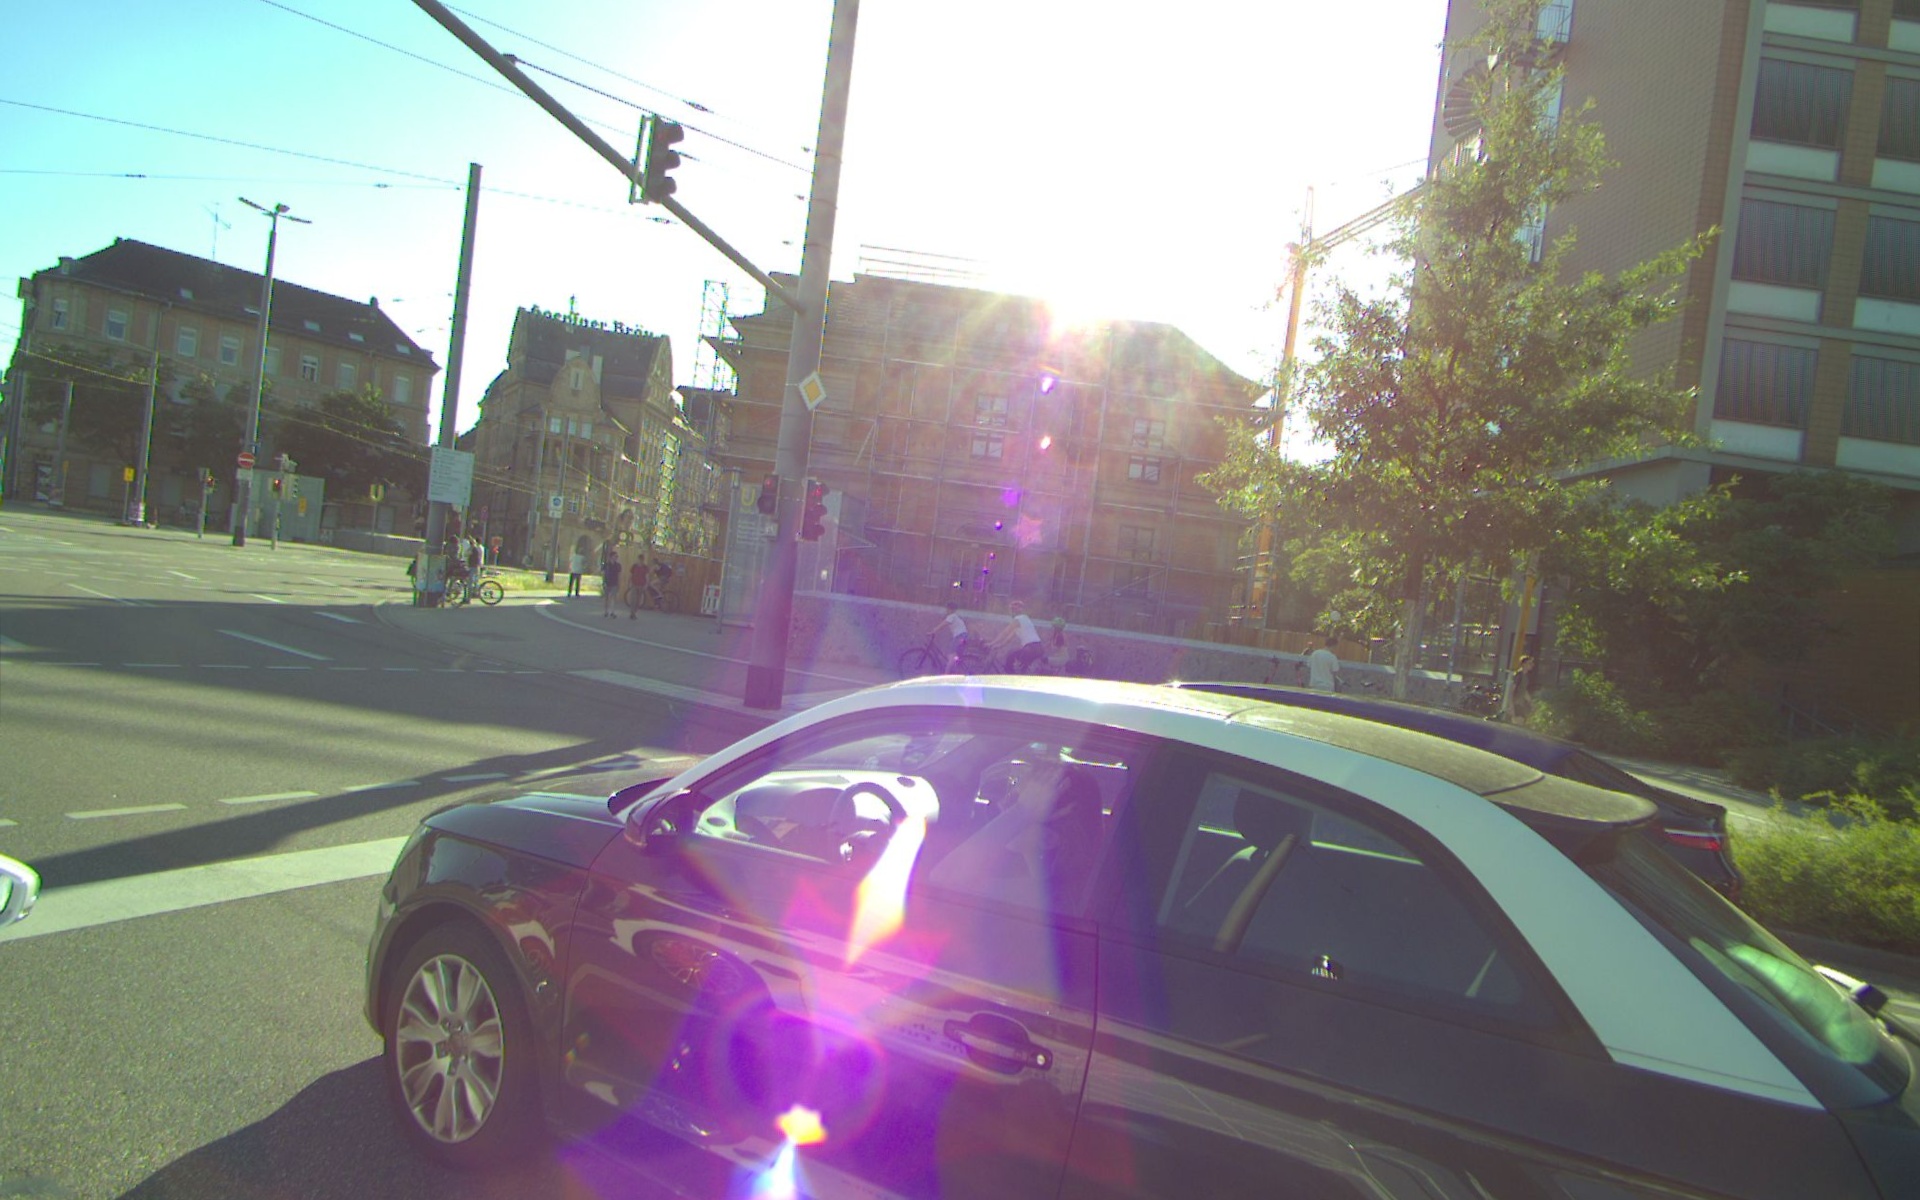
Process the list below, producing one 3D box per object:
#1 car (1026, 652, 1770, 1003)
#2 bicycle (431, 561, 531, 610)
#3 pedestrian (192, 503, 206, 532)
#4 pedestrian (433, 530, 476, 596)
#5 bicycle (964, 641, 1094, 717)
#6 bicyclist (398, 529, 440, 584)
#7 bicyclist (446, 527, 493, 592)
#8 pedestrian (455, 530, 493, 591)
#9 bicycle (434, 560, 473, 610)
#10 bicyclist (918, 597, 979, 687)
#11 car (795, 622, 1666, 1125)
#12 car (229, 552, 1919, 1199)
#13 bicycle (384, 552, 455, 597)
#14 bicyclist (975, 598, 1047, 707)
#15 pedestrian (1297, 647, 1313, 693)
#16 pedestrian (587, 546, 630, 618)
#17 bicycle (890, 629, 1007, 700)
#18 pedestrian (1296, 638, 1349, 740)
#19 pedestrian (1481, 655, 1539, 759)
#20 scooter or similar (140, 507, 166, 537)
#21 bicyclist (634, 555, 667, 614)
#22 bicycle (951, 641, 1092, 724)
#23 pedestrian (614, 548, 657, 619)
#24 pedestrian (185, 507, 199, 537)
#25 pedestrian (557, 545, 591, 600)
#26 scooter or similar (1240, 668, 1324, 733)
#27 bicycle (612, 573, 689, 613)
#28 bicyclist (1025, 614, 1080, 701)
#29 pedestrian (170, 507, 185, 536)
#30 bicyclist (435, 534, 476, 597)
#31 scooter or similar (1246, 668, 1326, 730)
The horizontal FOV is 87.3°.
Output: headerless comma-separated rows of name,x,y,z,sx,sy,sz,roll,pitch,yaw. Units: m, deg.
car,2.922,1.401,7.442,4.435,1.420,1.727,6,-2,30
bicycle,-12.748,-0.375,26.808,2.293,1.062,0.696,6,-1,-28
pedestrian,-55.509,-6.008,73.365,0.600,2.039,0.638,6,1,-43
pedestrian,-16.790,-1.229,33.408,0.748,2.037,0.733,7,-1,25
bicycle,1.105,1.283,16.410,1.997,0.976,0.660,6,2,-1
bicyclist,-16.843,-1.360,31.342,0.930,1.575,0.516,7,-1,24
bicyclist,-12.984,-1.066,26.639,0.936,1.575,0.705,8,-1,-28
pedestrian,-16.475,-1.350,34.117,0.678,1.945,0.649,7,-1,25
bicycle,-12.583,-0.392,24.966,0.693,1.062,2.303,7,0,-29
bicyclist,-0.198,0.737,17.672,0.663,1.471,0.616,6,-1,37
car,1.225,1.094,5.375,3.934,1.420,1.627,6,-2,32
car,-0.054,0.820,2.714,3.934,1.420,1.627,6,-2,32
bicycle,-16.841,-0.797,31.312,2.278,1.061,0.536,8,-1,24
bicyclist,0.795,0.801,15.593,0.780,1.573,0.667,7,2,22
pedestrian,13.434,2.735,39.198,0.369,1.752,0.444,7,-1,17
pedestrian,-9.401,-0.468,26.927,0.672,1.830,0.672,7,2,11
bicycle,-0.223,1.109,17.663,2.004,0.976,0.657,6,2,36
pedestrian,6.210,1.504,17.242,0.592,1.662,0.677,7,3,29
pedestrian,10.584,2.052,19.360,0.461,1.908,0.687,8,-1,-41
scooter or similar,-42.072,-4.071,52.420,0.784,1.392,1.885,8,-2,-44
bicyclist,-10.066,-0.492,32.699,0.785,1.800,0.520,8,-1,-23
bicycle,0.939,1.248,15.550,1.998,0.976,0.659,7,3,24
pedestrian,-8.877,-0.454,27.538,0.672,1.828,0.672,7,-1,11
pedestrian,-55.101,-5.580,72.166,0.600,2.039,0.638,6,1,-43
pedestrian,-13.805,-0.976,35.999,0.678,1.835,0.649,7,-1,25
scooter or similar,5.968,1.848,18.644,1.348,1.007,0.342,7,-1,25
bicycle,-10.041,-0.220,32.707,2.289,1.063,0.532,5,2,-25
bicyclist,1.509,0.933,16.429,0.661,1.330,0.617,7,-1,-3
pedestrian,-56.197,-5.647,72.240,0.600,2.039,0.638,6,1,-43
bicyclist,-12.606,-0.848,25.125,0.702,1.456,0.940,8,-1,-29
scooter or similar,6.282,1.905,19.413,1.346,1.007,0.343,7,-1,13
